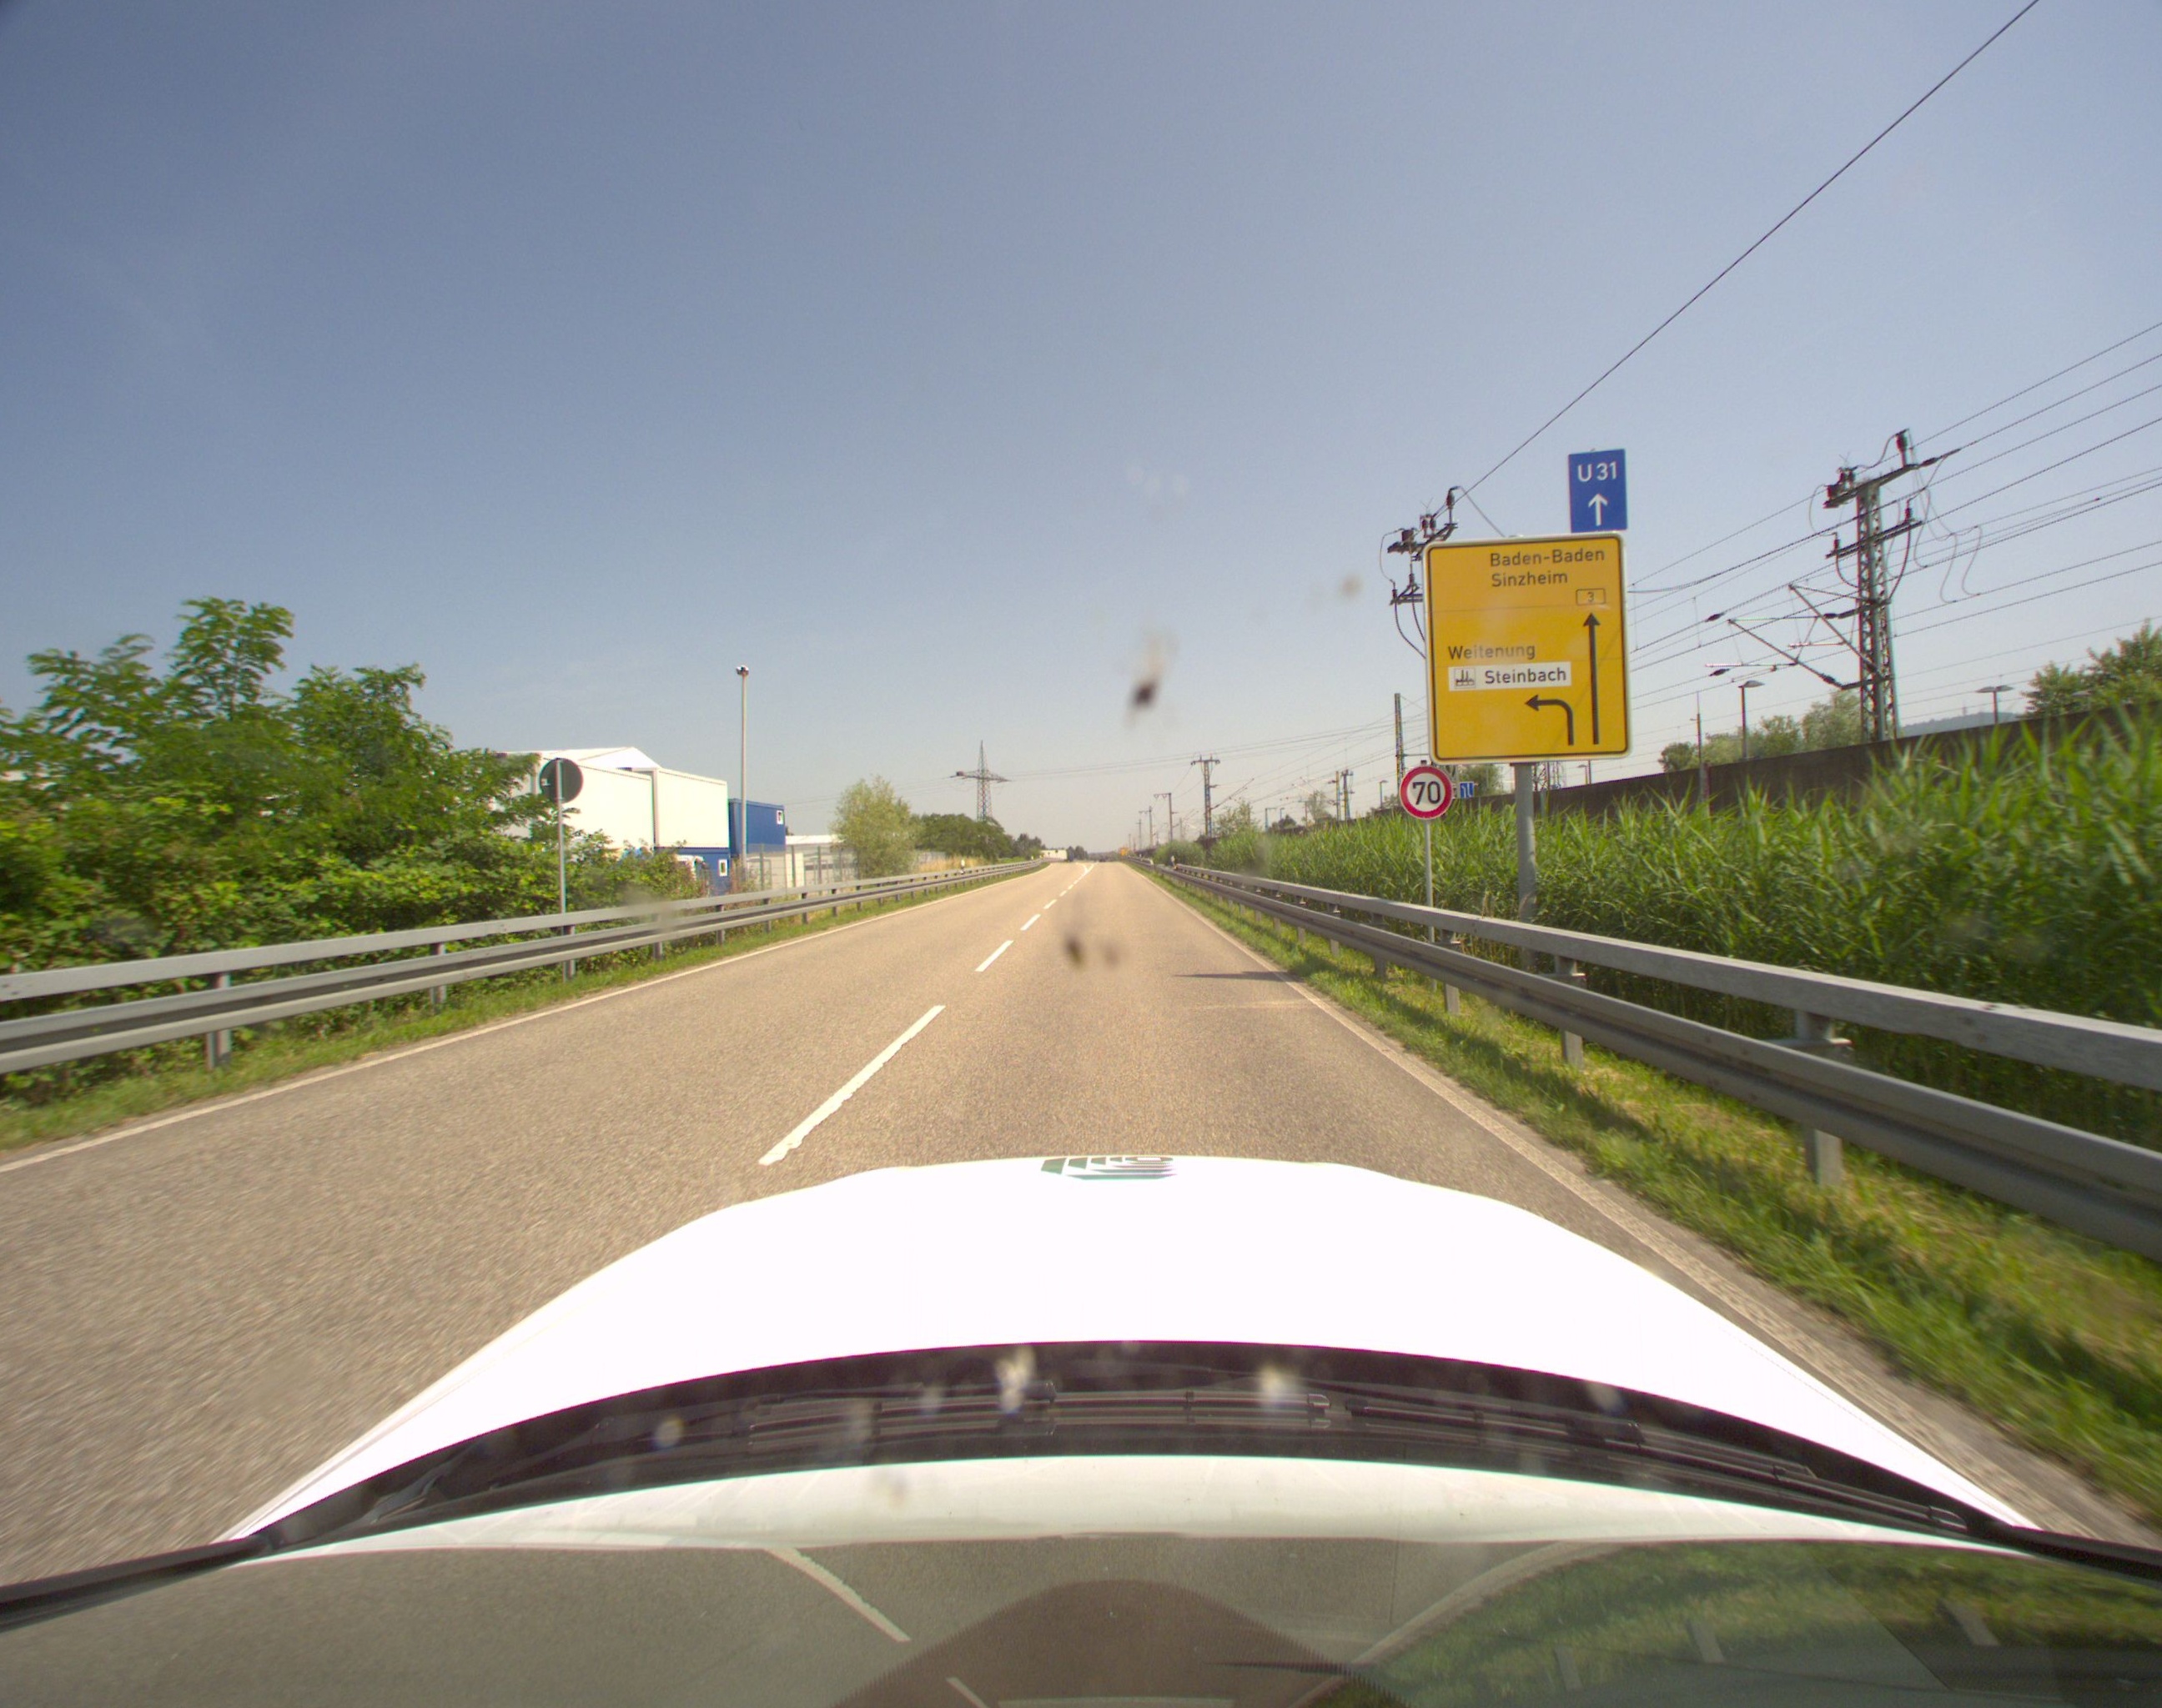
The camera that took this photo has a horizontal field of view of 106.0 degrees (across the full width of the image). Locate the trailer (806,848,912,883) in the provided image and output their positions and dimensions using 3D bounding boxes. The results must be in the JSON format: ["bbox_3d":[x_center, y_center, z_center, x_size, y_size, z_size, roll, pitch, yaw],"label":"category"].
[{"bbox_3d":[-12.683,0.632,46.856,5.368,1.848,2.544,-1,0,1],"label":"trailer"}]

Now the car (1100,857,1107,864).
[{"bbox_3d":[7.019,1.960,254.343,1.988,2.013,3.997,-1,0,-2],"label":"car"}]

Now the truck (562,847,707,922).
[{"bbox_3d":[-13.006,0.819,24.043,2.197,2.004,3.995,0,0,-3],"label":"truck"}]

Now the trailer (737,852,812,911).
[{"bbox_3d":[-13.355,1.127,35.743,1.989,2.437,3.917,0,0,-4],"label":"trailer"}]

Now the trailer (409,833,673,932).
[{"bbox_3d":[-12.809,0.577,20.182,2.197,2.004,6.966,0,0,-3],"label":"trailer"}]

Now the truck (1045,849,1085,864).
[{"bbox_3d":[-4.100,0.631,211.443,10.381,3.632,2.844,0,0,-1],"label":"truck"}]
